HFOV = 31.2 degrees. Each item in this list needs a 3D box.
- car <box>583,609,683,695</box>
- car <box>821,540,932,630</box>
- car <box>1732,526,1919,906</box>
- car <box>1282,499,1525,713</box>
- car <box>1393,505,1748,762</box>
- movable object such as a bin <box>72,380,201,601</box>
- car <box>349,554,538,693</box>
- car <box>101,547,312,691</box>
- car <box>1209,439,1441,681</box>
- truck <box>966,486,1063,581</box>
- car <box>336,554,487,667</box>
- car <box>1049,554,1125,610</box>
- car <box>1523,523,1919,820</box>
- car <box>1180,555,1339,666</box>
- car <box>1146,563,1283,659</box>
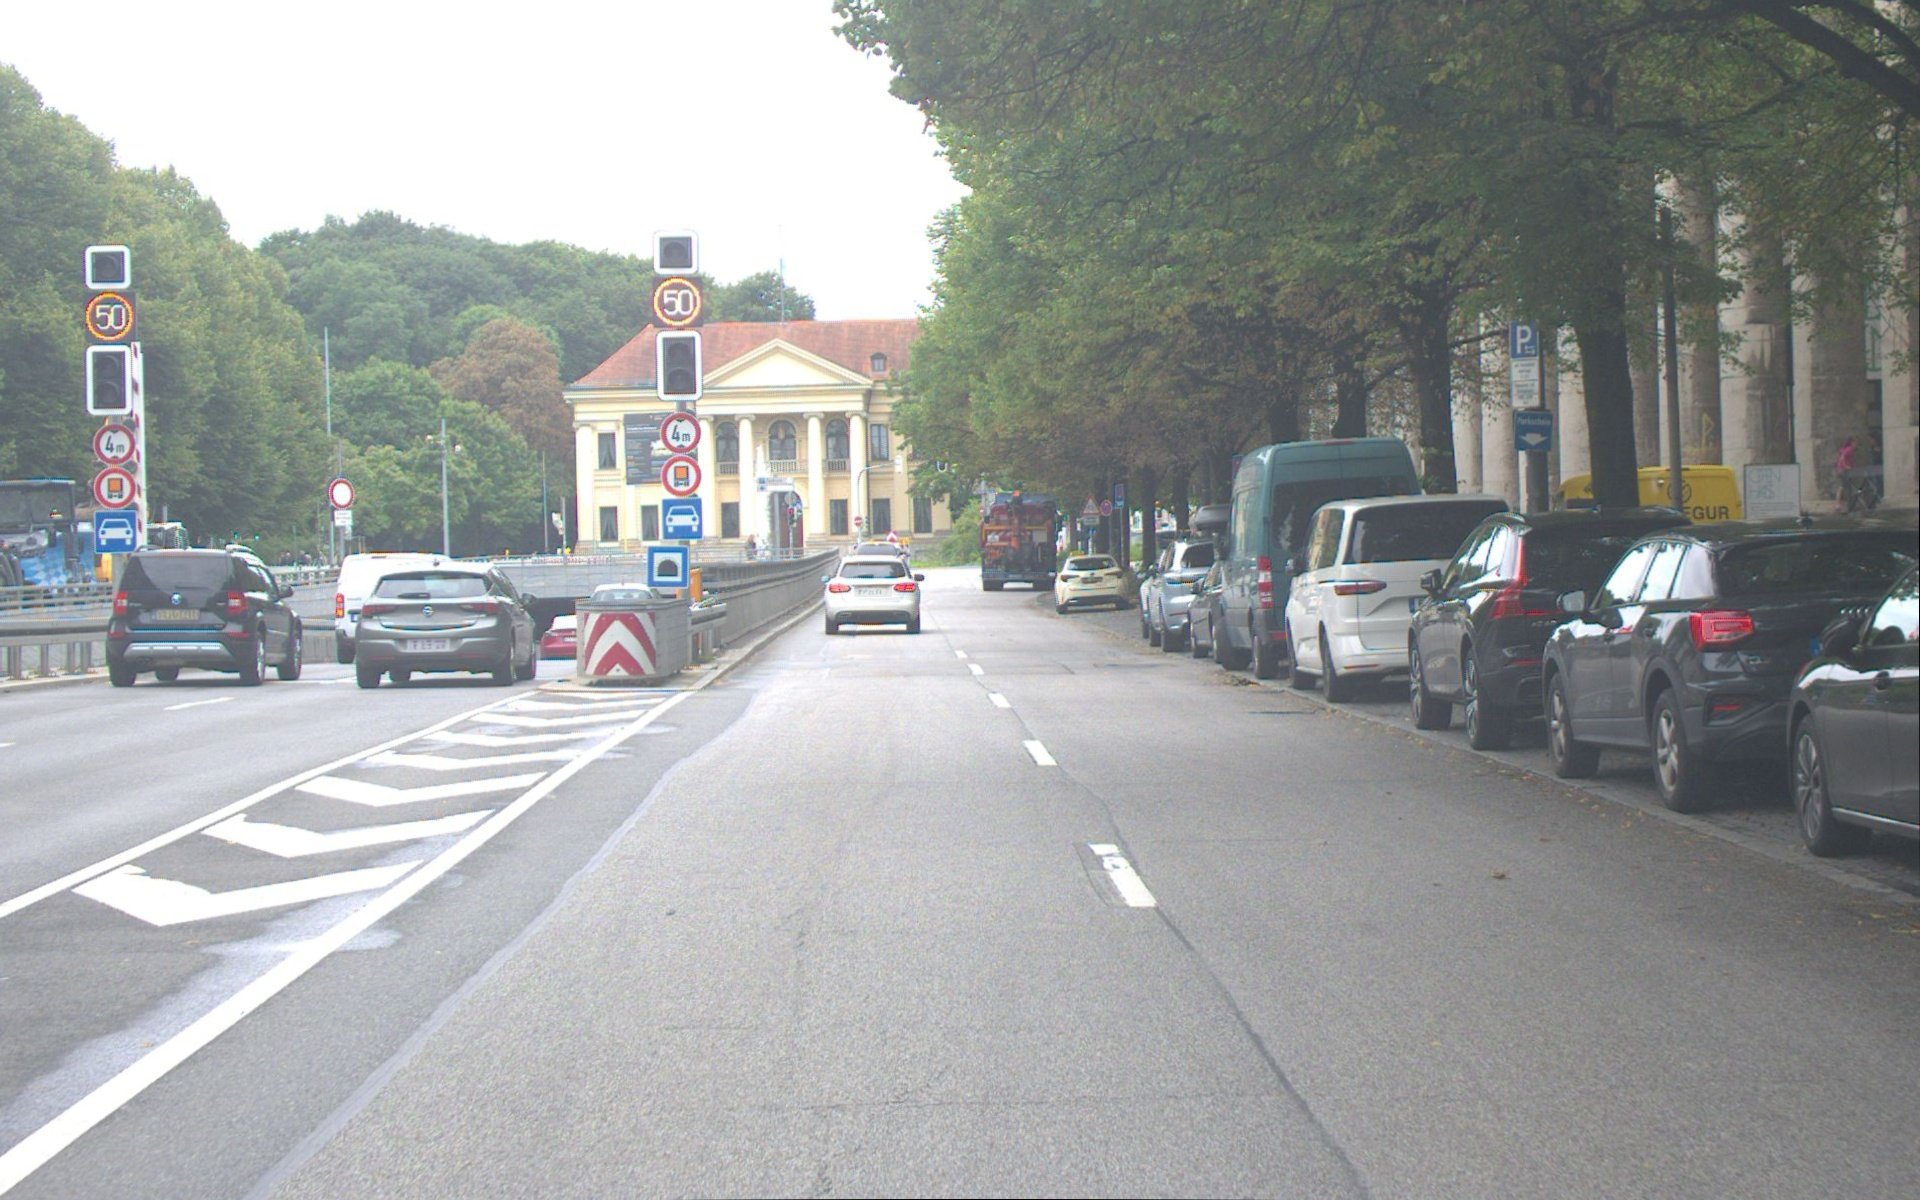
[{"bbox_3d":[-6.790,1.058,71.687,1.779,1.648,4.000,0,1,-1],"label":"car"},{"bbox_3d":[-1.619,-0.311,65.214,1.779,1.639,4.001,0,1,-6],"label":"car"},{"bbox_3d":[4.554,0.416,13.920,1.724,1.459,4.776,-2,1,0],"label":"car"},{"bbox_3d":[4.167,0.024,32.843,1.724,1.861,4.028,-2,1,0],"label":"car"},{"bbox_3d":[4.359,0.188,25.209,1.724,1.659,4.590,-2,1,0],"label":"car"},{"bbox_3d":[-24.819,-3.265,103.842,2.699,6.488,5.176,0,1,-1],"label":"movable object such as a bin"},{"bbox_3d":[-6.038,0.239,40.588,1.710,1.546,4.000,0,1,-1],"label":"car"},{"bbox_3d":[-9.185,0.198,42.193,1.722,1.631,4.205,-2,1,-1],"label":"car"},{"bbox_3d":[4.153,-0.475,39.866,1.993,2.634,4.878,0,1,-2],"label":"car"},{"bbox_3d":[1.948,-2.433,126.280,3.325,3.355,8.663,0,1,-1],"label":"truck"},{"bbox_3d":[-9.501,0.152,59.883,1.898,1.841,4.956,-2,1,-1],"label":"car"},{"bbox_3d":[3.177,-0.462,86.711,1.724,1.319,4.028,-2,1,0],"label":"car"},{"bbox_3d":[4.453,0.327,19.434,1.822,1.459,4.028,-2,1,0],"label":"car"},{"bbox_3d":[3.969,0.108,46.040,1.724,1.359,4.028,-2,1,0],"label":"car"},{"bbox_3d":[3.794,0.141,51.800,1.724,1.319,4.028,-2,1,0],"label":"car"}]
